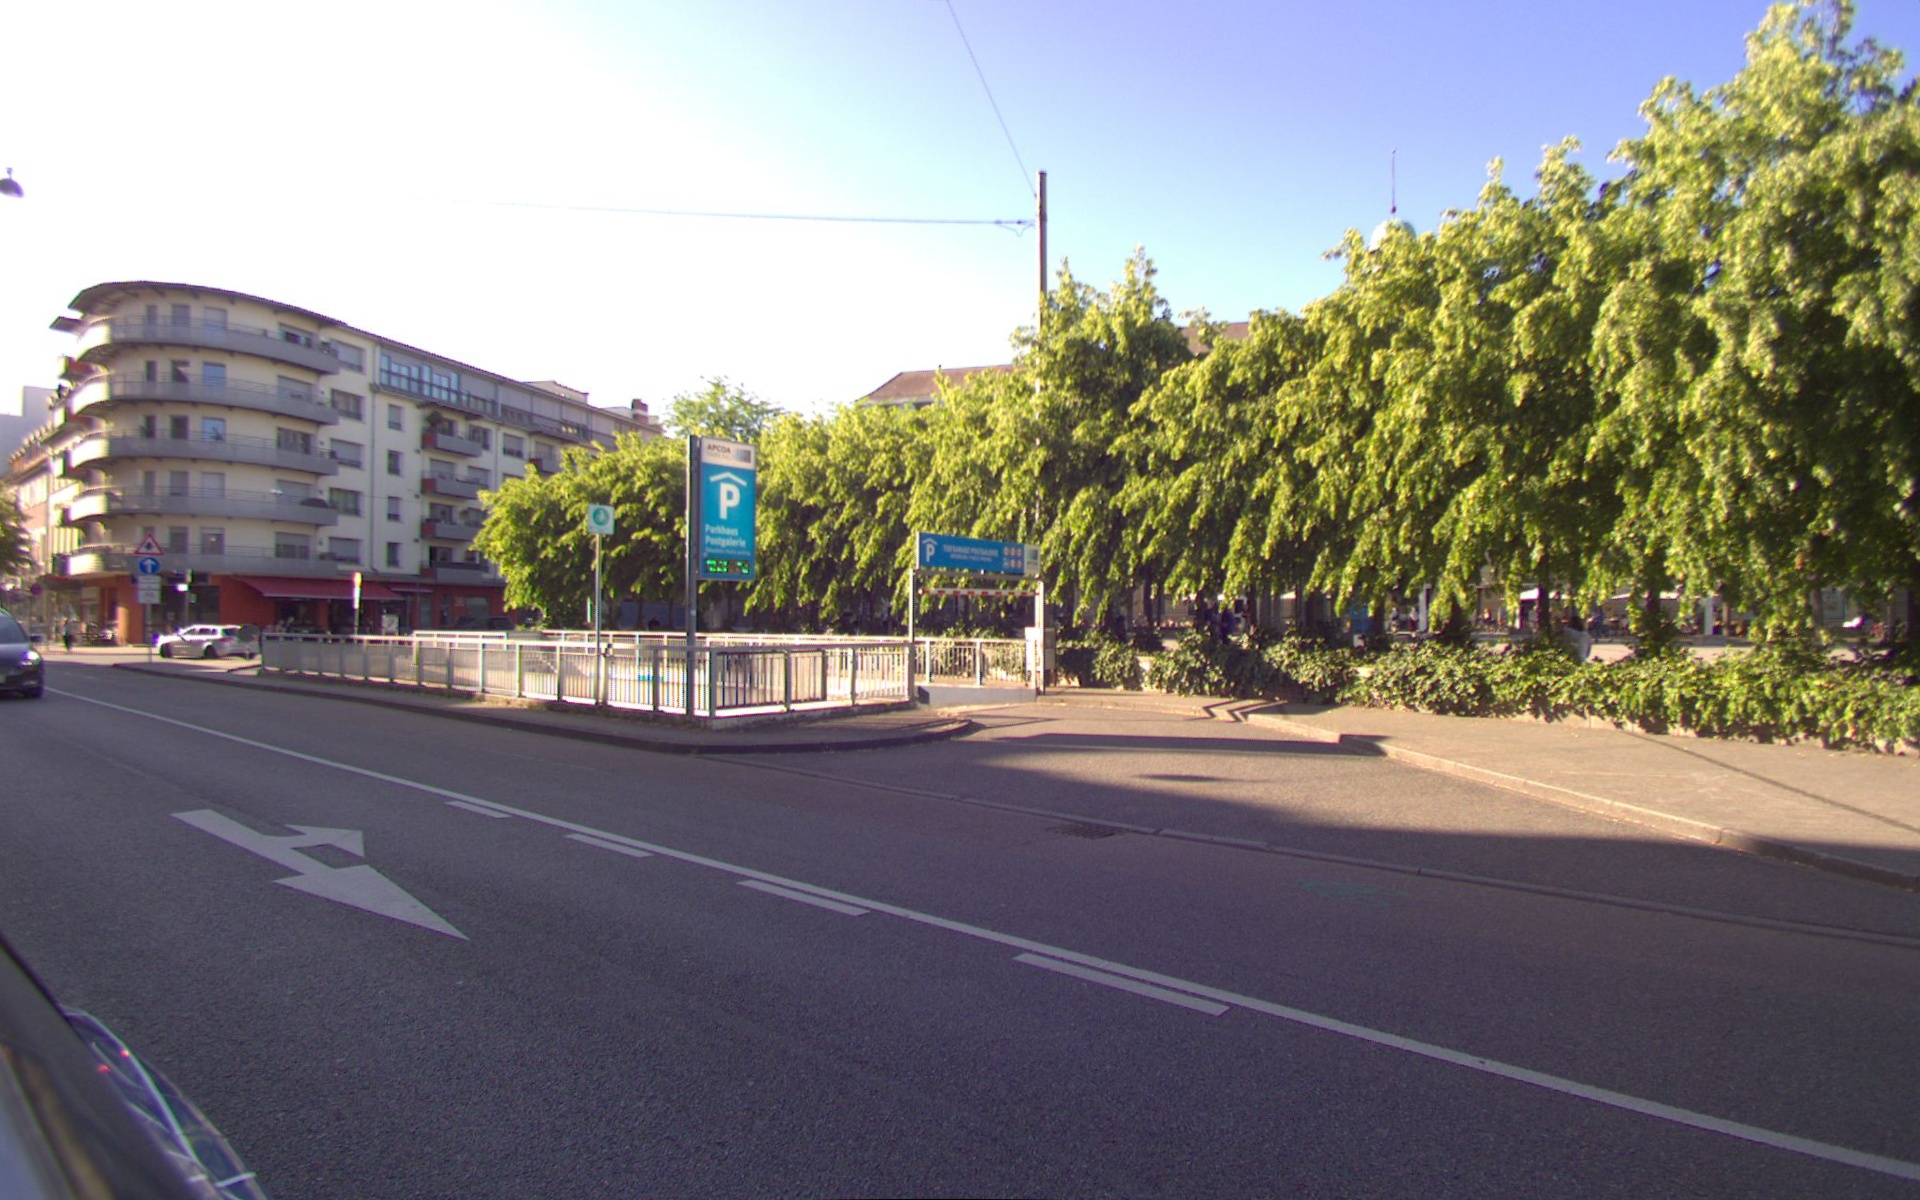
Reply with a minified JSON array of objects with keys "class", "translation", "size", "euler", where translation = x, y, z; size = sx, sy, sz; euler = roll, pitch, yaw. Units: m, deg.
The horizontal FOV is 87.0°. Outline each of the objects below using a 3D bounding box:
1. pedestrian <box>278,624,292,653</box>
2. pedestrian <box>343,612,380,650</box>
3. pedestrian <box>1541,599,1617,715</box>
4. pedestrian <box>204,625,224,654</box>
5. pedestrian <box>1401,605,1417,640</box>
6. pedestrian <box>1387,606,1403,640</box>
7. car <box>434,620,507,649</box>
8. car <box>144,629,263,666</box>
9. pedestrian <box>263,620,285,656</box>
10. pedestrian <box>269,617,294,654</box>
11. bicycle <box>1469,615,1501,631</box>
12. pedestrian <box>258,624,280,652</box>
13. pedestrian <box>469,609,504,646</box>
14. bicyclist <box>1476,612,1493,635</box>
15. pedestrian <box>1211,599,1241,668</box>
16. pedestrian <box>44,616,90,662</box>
[{"class":"pedestrian","translation":[-35.305,2.016,52.894],"size":[0.573,1.501,0.794],"euler":[0,-1,-36]},{"class":"pedestrian","translation":[-32.778,1.675,55.451],"size":[1.251,2.029,1.226],"euler":[-1,-1,19]},{"class":"pedestrian","translation":[9.776,0.878,15.978],"size":[0.885,1.771,0.738],"euler":[0,-1,-39]},{"class":"pedestrian","translation":[-37.728,1.984,51.204],"size":[0.780,1.472,0.583],"euler":[0,-1,-40]},{"class":"pedestrian","translation":[25.727,1.294,58.010],"size":[0.751,1.948,0.938],"euler":[-1,-1,20]},{"class":"pedestrian","translation":[24.988,1.324,58.163],"size":[0.751,1.948,0.938],"euler":[-1,-1,20]},{"class":"car","translation":[-30.515,2.126,63.206],"size":[1.983,1.763,3.977],"euler":[-1,-1,17]},{"class":"car","translation":[-30.765,1.909,41.172],"size":[4.215,1.445,1.793],"euler":[-1,-1,18]},{"class":"pedestrian","translation":[-33.434,1.860,49.329],"size":[0.697,1.719,0.667],"euler":[-1,-1,33]},{"class":"pedestrian","translation":[-33.593,1.753,50.129],"size":[0.746,1.819,0.755],"euler":[-1,-1,-1]},{"class":"bicycle","translation":[33.957,1.480,65.430],"size":[1.874,0.961,0.591],"euler":[0,-1,-14]},{"class":"pedestrian","translation":[-36.725,2.021,53.774],"size":[0.782,1.473,0.582],"euler":[0,-1,3]},{"class":"pedestrian","translation":[-26.282,1.536,56.137],"size":[1.293,2.029,1.303],"euler":[-1,-1,36]},{"class":"bicyclist","translation":[33.892,1.520,65.396],"size":[0.687,1.439,0.675],"euler":[0,-1,-15]},{"class":"pedestrian","translation":[6.578,0.820,25.057],"size":[0.672,1.683,0.843],"euler":[-1,-1,13]},{"class":"pedestrian","translation":[-40.746,1.754,46.198],"size":[1.008,2.029,1.198],"euler":[-1,0,4]}]
